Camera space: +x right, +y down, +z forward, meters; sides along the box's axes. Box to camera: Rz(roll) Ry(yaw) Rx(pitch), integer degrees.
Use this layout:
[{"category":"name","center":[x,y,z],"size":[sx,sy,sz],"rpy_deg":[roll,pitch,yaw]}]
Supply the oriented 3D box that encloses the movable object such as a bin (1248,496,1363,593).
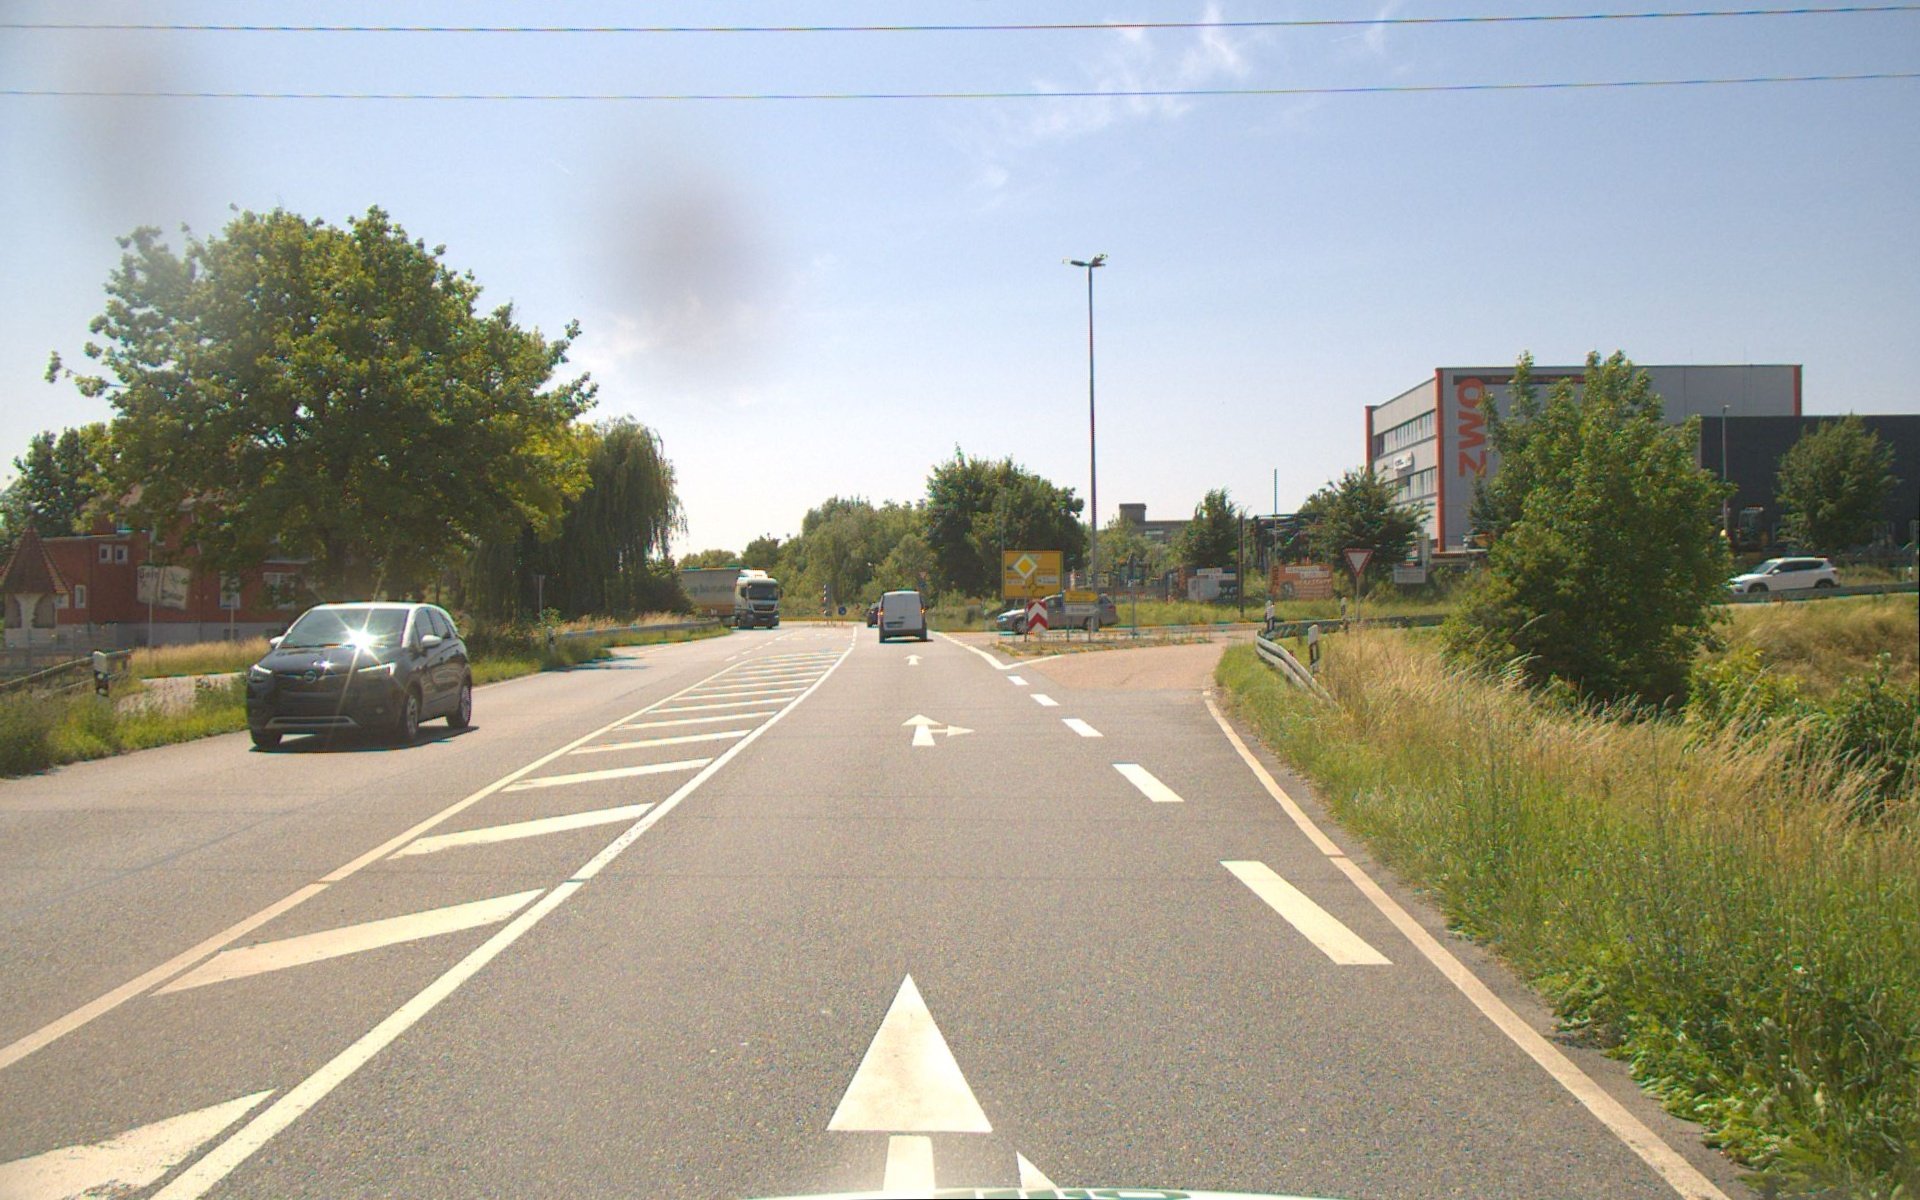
[{"category":"movable object such as a bin","center":[19.380,-3.092,93.034],"size":[5.797,5.195,3.108],"rpy_deg":[1,-2,0]}]

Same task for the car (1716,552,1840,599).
[{"category":"car","center":[32.036,-0.985,64.841],"size":[4.001,1.649,1.759],"rpy_deg":[-2,1,-1]}]

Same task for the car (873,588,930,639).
[{"category":"car","center":[-2.165,0.488,60.240],"size":[1.867,1.763,3.818],"rpy_deg":[-1,-1,-5]}]

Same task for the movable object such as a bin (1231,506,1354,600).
[{"category":"movable object such as a bin","center":[19.401,-2.716,96.930],"size":[6.456,5.238,3.805],"rpy_deg":[1,-2,0]}]

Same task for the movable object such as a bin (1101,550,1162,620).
[{"category":"movable object such as a bin","center":[8.594,-0.698,83.455],"size":[2.277,3.307,5.097],"rpy_deg":[1,-2,-3]}]

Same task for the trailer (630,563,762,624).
[{"category":"trailer","center":[-18.899,-0.513,117.424],"size":[2.773,4.127,13.305],"rpy_deg":[1,0,-40]}]

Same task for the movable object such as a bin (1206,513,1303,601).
[{"category":"movable object such as a bin","center":[18.817,-2.723,105.868],"size":[5.599,5.362,3.220],"rpy_deg":[1,-2,0]}]

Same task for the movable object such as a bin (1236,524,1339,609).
[{"category":"movable object such as a bin","center":[17.460,-1.780,88.414],"size":[4.981,4.350,2.834],"rpy_deg":[1,-2,0]}]

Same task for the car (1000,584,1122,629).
[{"category":"car","center":[3.810,0.233,62.821],"size":[4.421,1.534,1.913],"rpy_deg":[-2,0,-3]}]

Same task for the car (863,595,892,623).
[{"category":"car","center":[-5.171,0.529,103.297],"size":[1.769,1.583,3.998],"rpy_deg":[-1,1,-3]}]

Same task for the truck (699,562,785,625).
[{"category":"truck","center":[-14.870,-0.477,112.527],"size":[2.771,4.127,6.659],"rpy_deg":[1,0,-39]}]

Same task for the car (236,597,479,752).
[{"category":"car","center":[-6.891,0.787,19.322],"size":[1.699,1.618,3.953],"rpy_deg":[0,0,-5]}]
